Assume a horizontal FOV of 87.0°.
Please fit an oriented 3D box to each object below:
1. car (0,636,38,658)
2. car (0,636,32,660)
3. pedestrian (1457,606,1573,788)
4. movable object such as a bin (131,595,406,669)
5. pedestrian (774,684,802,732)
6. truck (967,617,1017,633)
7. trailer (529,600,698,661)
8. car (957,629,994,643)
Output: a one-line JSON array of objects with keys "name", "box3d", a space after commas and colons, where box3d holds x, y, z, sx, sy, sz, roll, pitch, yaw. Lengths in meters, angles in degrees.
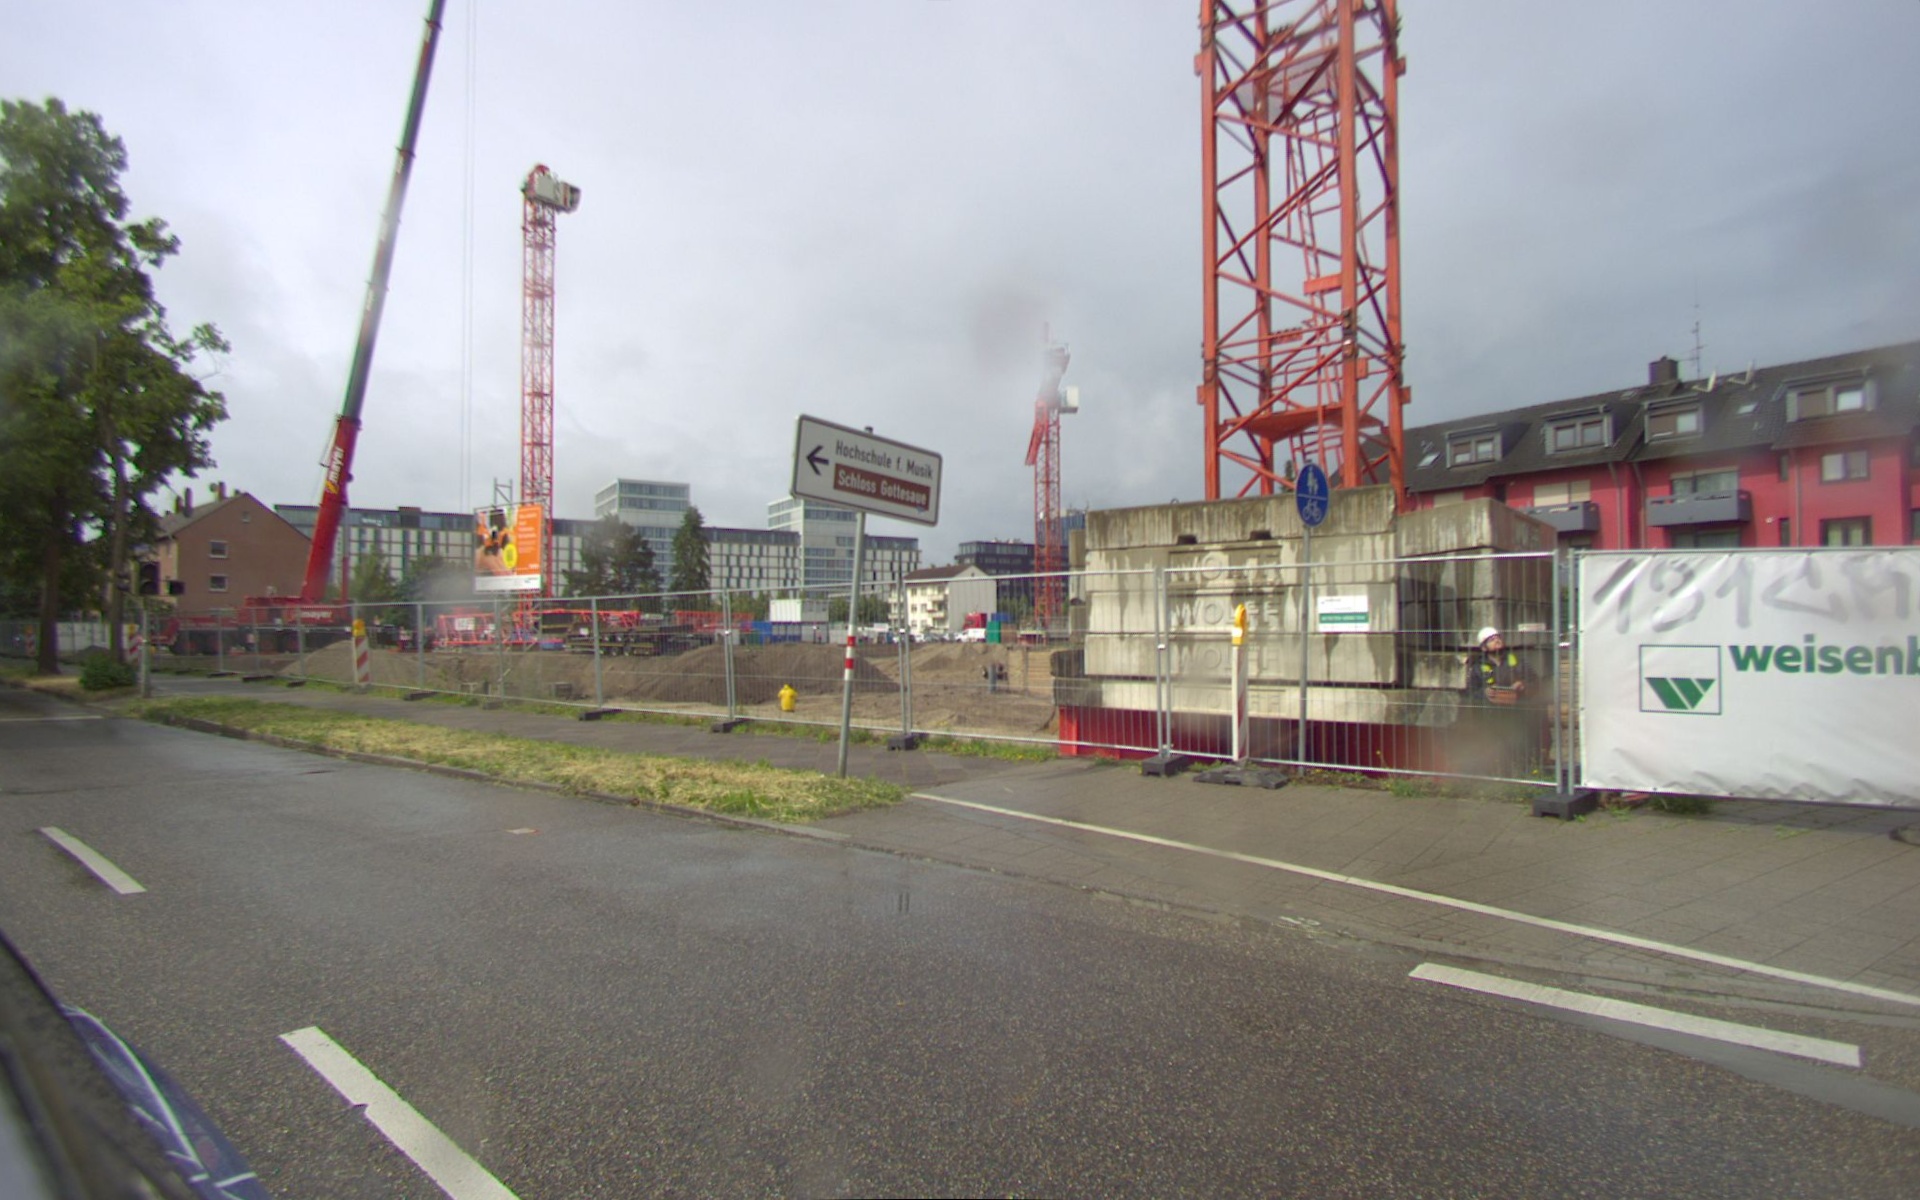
[{"name": "car", "box3d": [-69.670, 3.458, 74.753, 3.994, 1.541, 1.673, -1, 0, 37]}, {"name": "car", "box3d": [-67.038, 3.353, 70.266, 1.699, 1.564, 3.816, -1, 0, 45]}, {"name": "pedestrian", "box3d": [5.219, 0.882, 9.551, 0.675, 1.642, 0.723, -1, 0, 2]}, {"name": "movable object such as a bin", "box3d": [-48.121, 2.029, 71.367, 3.101, 4.592, 15.735, -1, 0, 42]}, {"name": "pedestrian", "box3d": [-6.347, 3.966, 37.302, 0.849, 1.698, 0.580, -2, -6, 45]}, {"name": "truck", "box3d": [4.158, 3.238, 131.423, 6.287, 2.095, 1.885, -1, 0, 23]}, {"name": "trailer", "box3d": [-22.338, 2.051, 64.471, 14.294, 3.257, 2.932, -4, 0, 39]}, {"name": "car", "box3d": [1.872, 4.489, 126.292, 4.580, 1.529, 1.797, -1, 0, 42]}]
